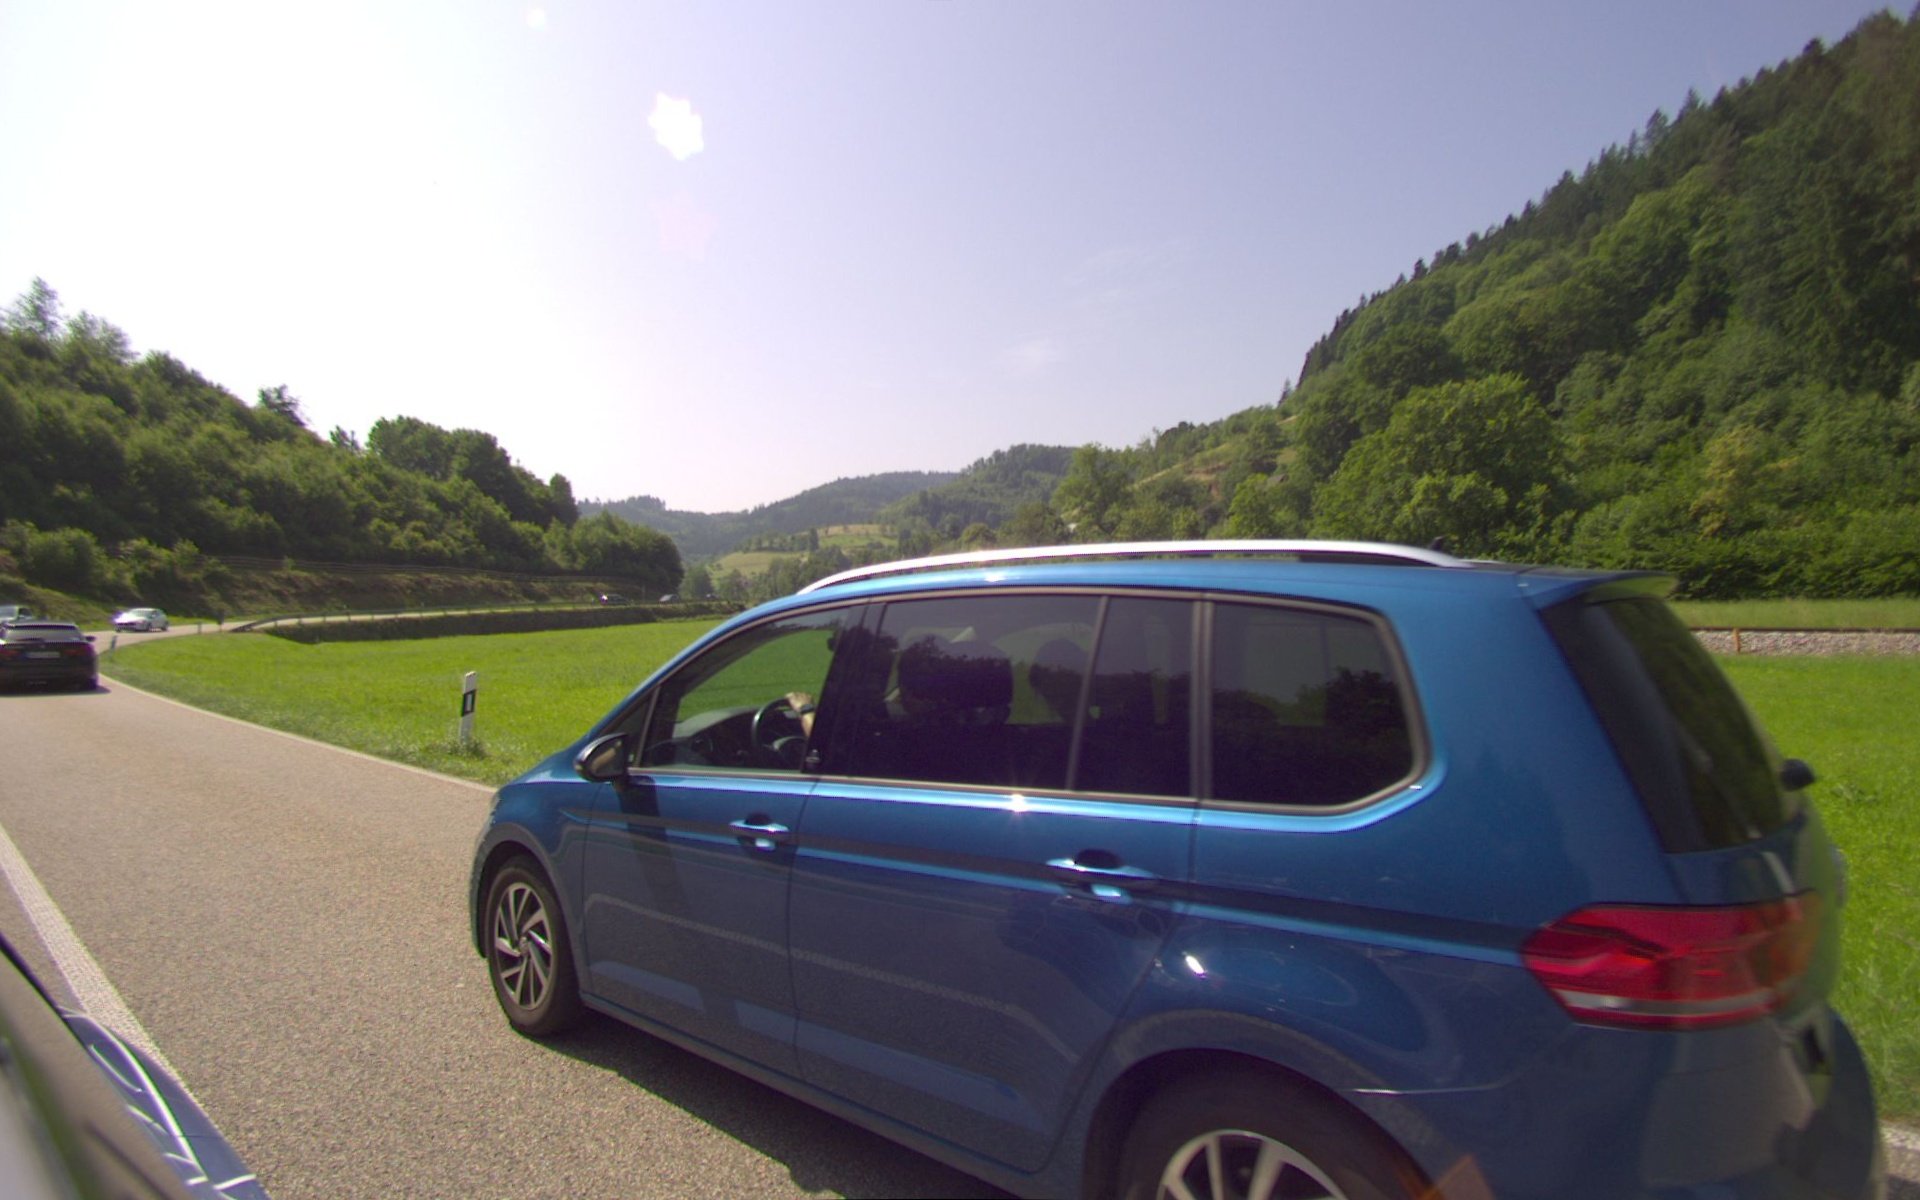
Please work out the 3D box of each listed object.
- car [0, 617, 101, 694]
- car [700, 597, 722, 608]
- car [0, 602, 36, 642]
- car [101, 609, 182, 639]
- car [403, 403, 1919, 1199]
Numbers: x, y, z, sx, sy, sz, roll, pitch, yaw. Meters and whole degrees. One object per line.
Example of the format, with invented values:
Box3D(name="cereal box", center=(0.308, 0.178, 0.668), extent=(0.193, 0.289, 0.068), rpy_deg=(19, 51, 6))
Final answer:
Box3D(name="car", center=(-19.789, 1.114, 21.528), extent=(4.512, 1.482, 1.894), rpy_deg=(-1, -2, 45))
Box3D(name="car", center=(-41.652, 0.426, 169.413), extent=(1.934, 1.753, 4.882), rpy_deg=(0, -1, 9))
Box3D(name="car", center=(-45.549, 1.061, 47.637), extent=(2.083, 1.828, 4.469), rpy_deg=(0, -1, -29))
Box3D(name="car", center=(-52.139, 1.500, 64.582), extent=(2.112, 1.501, 4.685), rpy_deg=(-5, 3, -13))
Box3D(name="car", center=(0.158, 0.628, 3.206), extent=(4.506, 1.636, 1.847), rpy_deg=(-2, -1, 40))
